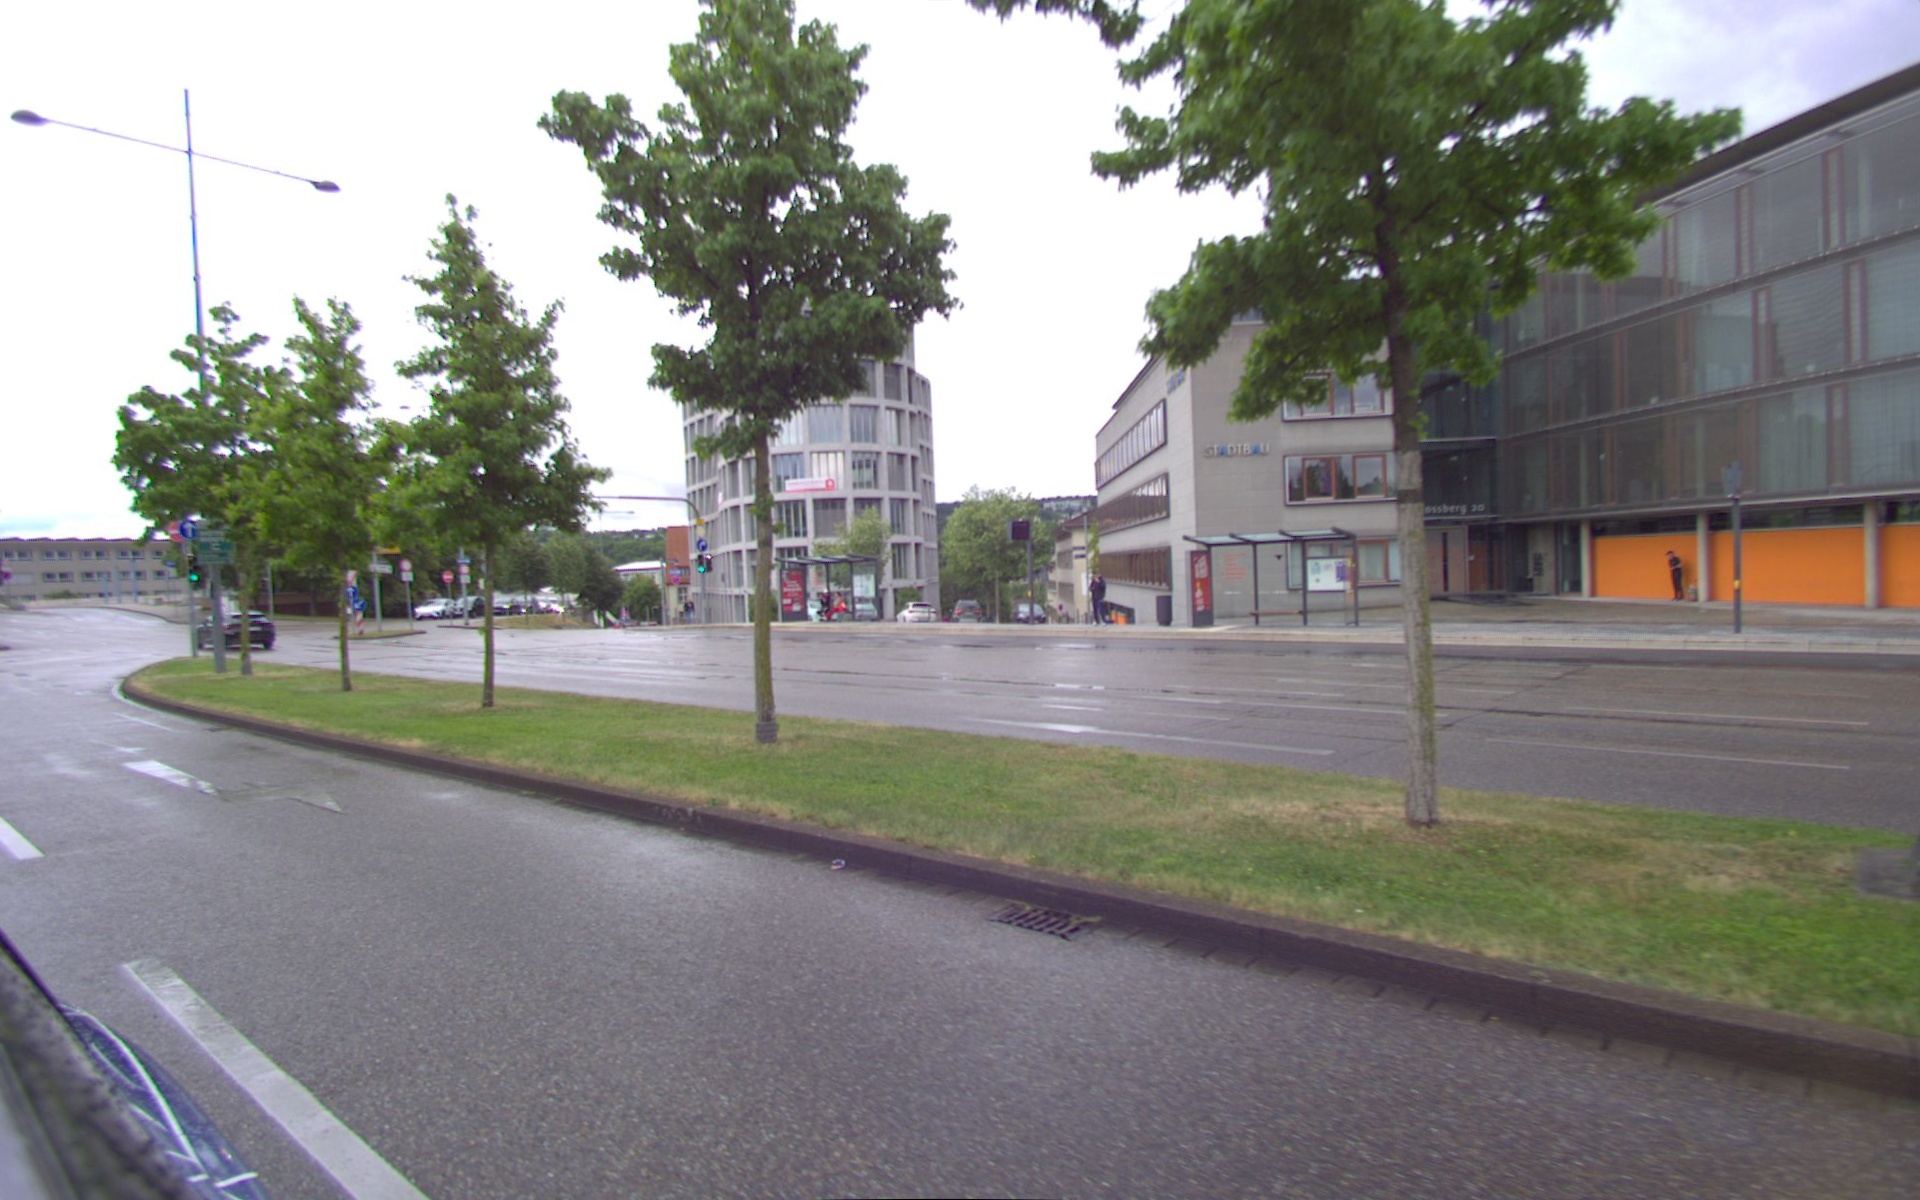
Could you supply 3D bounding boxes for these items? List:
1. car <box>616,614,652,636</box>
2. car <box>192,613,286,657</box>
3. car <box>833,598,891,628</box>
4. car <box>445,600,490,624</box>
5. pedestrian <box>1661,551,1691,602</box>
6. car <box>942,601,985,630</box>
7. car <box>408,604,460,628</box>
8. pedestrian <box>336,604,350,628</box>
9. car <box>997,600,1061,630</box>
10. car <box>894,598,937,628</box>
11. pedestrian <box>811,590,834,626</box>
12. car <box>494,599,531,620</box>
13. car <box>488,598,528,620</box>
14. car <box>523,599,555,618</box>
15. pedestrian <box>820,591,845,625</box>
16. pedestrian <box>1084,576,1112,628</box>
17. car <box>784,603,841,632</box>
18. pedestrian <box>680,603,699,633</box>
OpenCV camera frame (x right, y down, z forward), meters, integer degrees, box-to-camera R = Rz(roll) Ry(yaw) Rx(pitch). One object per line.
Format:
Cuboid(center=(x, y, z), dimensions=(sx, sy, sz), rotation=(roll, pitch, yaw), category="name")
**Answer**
Cuboid(center=(-25.974, 1.948, 80.766), dimensions=(1.801, 1.563, 4.036), rotation=(-1, 1, -4), category="car")
Cuboid(center=(-27.561, 1.288, 38.652), dimensions=(4.633, 1.539, 1.664), rotation=(-1, 1, 38), category="car")
Cuboid(center=(-5.352, 0.678, 55.075), dimensions=(1.606, 1.507, 3.591), rotation=(-2, 1, -35), category="car")
Cuboid(center=(-34.678, 0.832, 71.415), dimensions=(1.701, 1.579, 3.845), rotation=(-1, 1, -7), category="car")
Cuboid(center=(24.170, -0.796, 34.164), dimensions=(0.467, 1.696, 0.645), rotation=(-1, 0, -19), category="pedestrian")
Cuboid(center=(0.170, 0.815, 55.384), dimensions=(1.606, 1.507, 3.591), rotation=(-1, 1, -11), category="car")
Cuboid(center=(-37.673, 1.135, 72.592), dimensions=(1.859, 1.579, 4.147), rotation=(-1, 1, -6), category="car")
Cuboid(center=(-40.539, 1.040, 66.446), dimensions=(0.644, 1.582, 0.631), rotation=(0, 1, -44), category="pedestrian")
Cuboid(center=(3.650, 0.775, 54.302), dimensions=(1.605, 1.507, 3.593), rotation=(-2, 1, -31), category="car")
Cuboid(center=(-2.430, 0.653, 54.658), dimensions=(1.737, 1.507, 3.797), rotation=(-1, 1, -11), category="car")
Cuboid(center=(-5.771, 0.351, 42.500), dimensions=(0.625, 1.480, 0.672), rotation=(-1, 1, 38), category="pedestrian")
Cuboid(center=(-36.471, 0.738, 82.582), dimensions=(1.701, 1.579, 3.845), rotation=(-1, 1, -7), category="car")
Cuboid(center=(-34.834, 0.676, 78.082), dimensions=(1.701, 1.579, 3.845), rotation=(-1, 1, -7), category="car")
Cuboid(center=(-38.392, 0.792, 92.360), dimensions=(1.701, 1.579, 3.845), rotation=(-1, 1, -7), category="car")
Cuboid(center=(-5.278, 0.323, 41.961), dimensions=(0.720, 1.402, 0.672), rotation=(-1, 1, 38), category="pedestrian")
Cuboid(center=(4.502, 0.069, 33.080), dimensions=(0.468, 1.696, 0.764), rotation=(-1, 0, -43), category="pedestrian")
Cuboid(center=(-7.980, 0.919, 54.654), dimensions=(1.606, 1.507, 3.591), rotation=(-2, 1, -35), category="car")
Cuboid(center=(-14.897, 0.986, 55.766), dimensions=(0.704, 1.595, 0.665), rotation=(0, 2, 38), category="pedestrian")
